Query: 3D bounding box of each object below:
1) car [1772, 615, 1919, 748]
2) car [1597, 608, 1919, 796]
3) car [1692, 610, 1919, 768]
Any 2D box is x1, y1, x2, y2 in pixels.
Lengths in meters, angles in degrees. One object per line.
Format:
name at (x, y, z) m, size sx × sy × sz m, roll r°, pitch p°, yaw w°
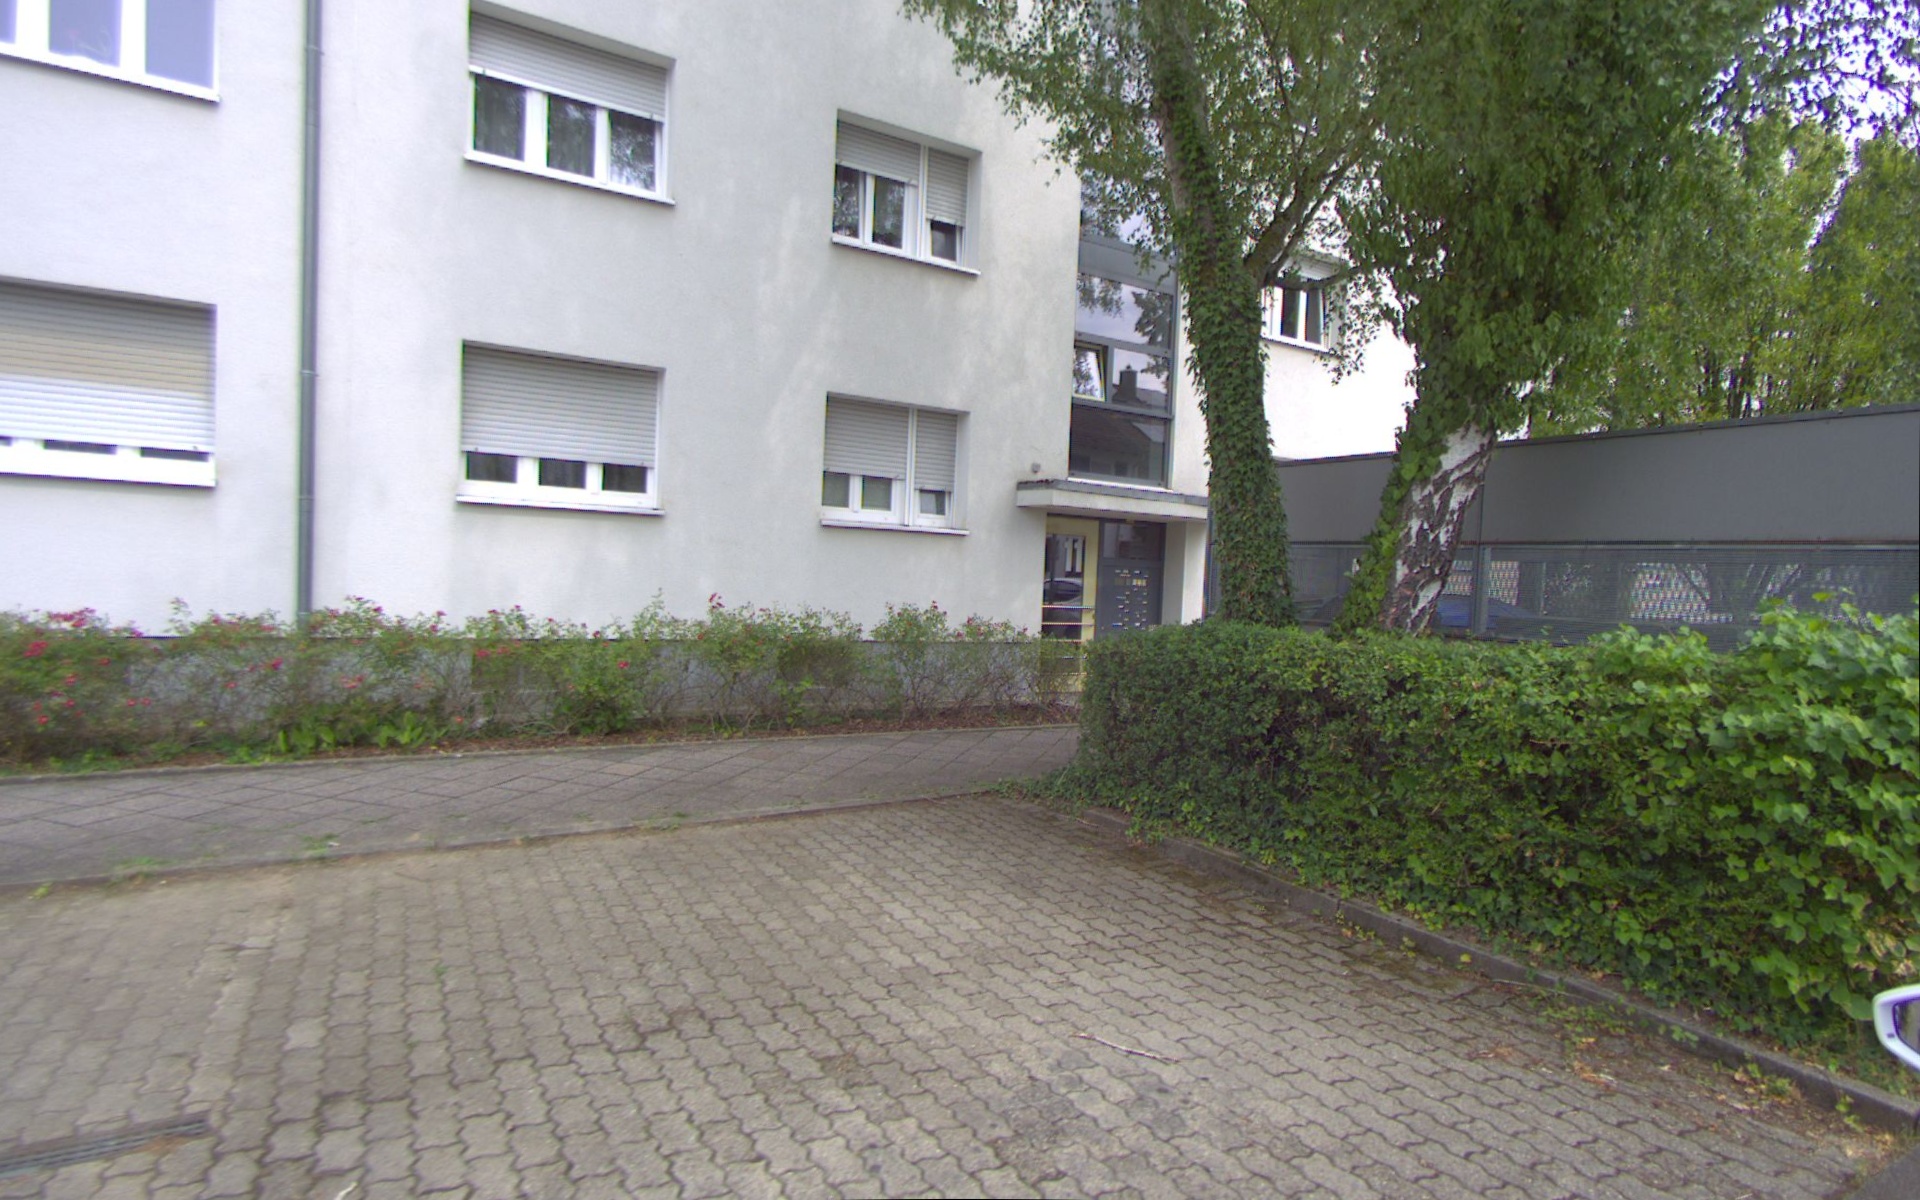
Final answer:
car at (12.620, 1.044, 11.813) m, size 1.819 × 1.522 × 4.391 m, roll 1°, pitch 1°, yaw -29°
car at (8.493, 0.898, 9.327) m, size 1.774 × 1.479 × 3.968 m, roll 1°, pitch 1°, yaw -29°
car at (10.633, 0.967, 10.548) m, size 1.819 × 1.522 × 4.391 m, roll 1°, pitch 1°, yaw -29°
